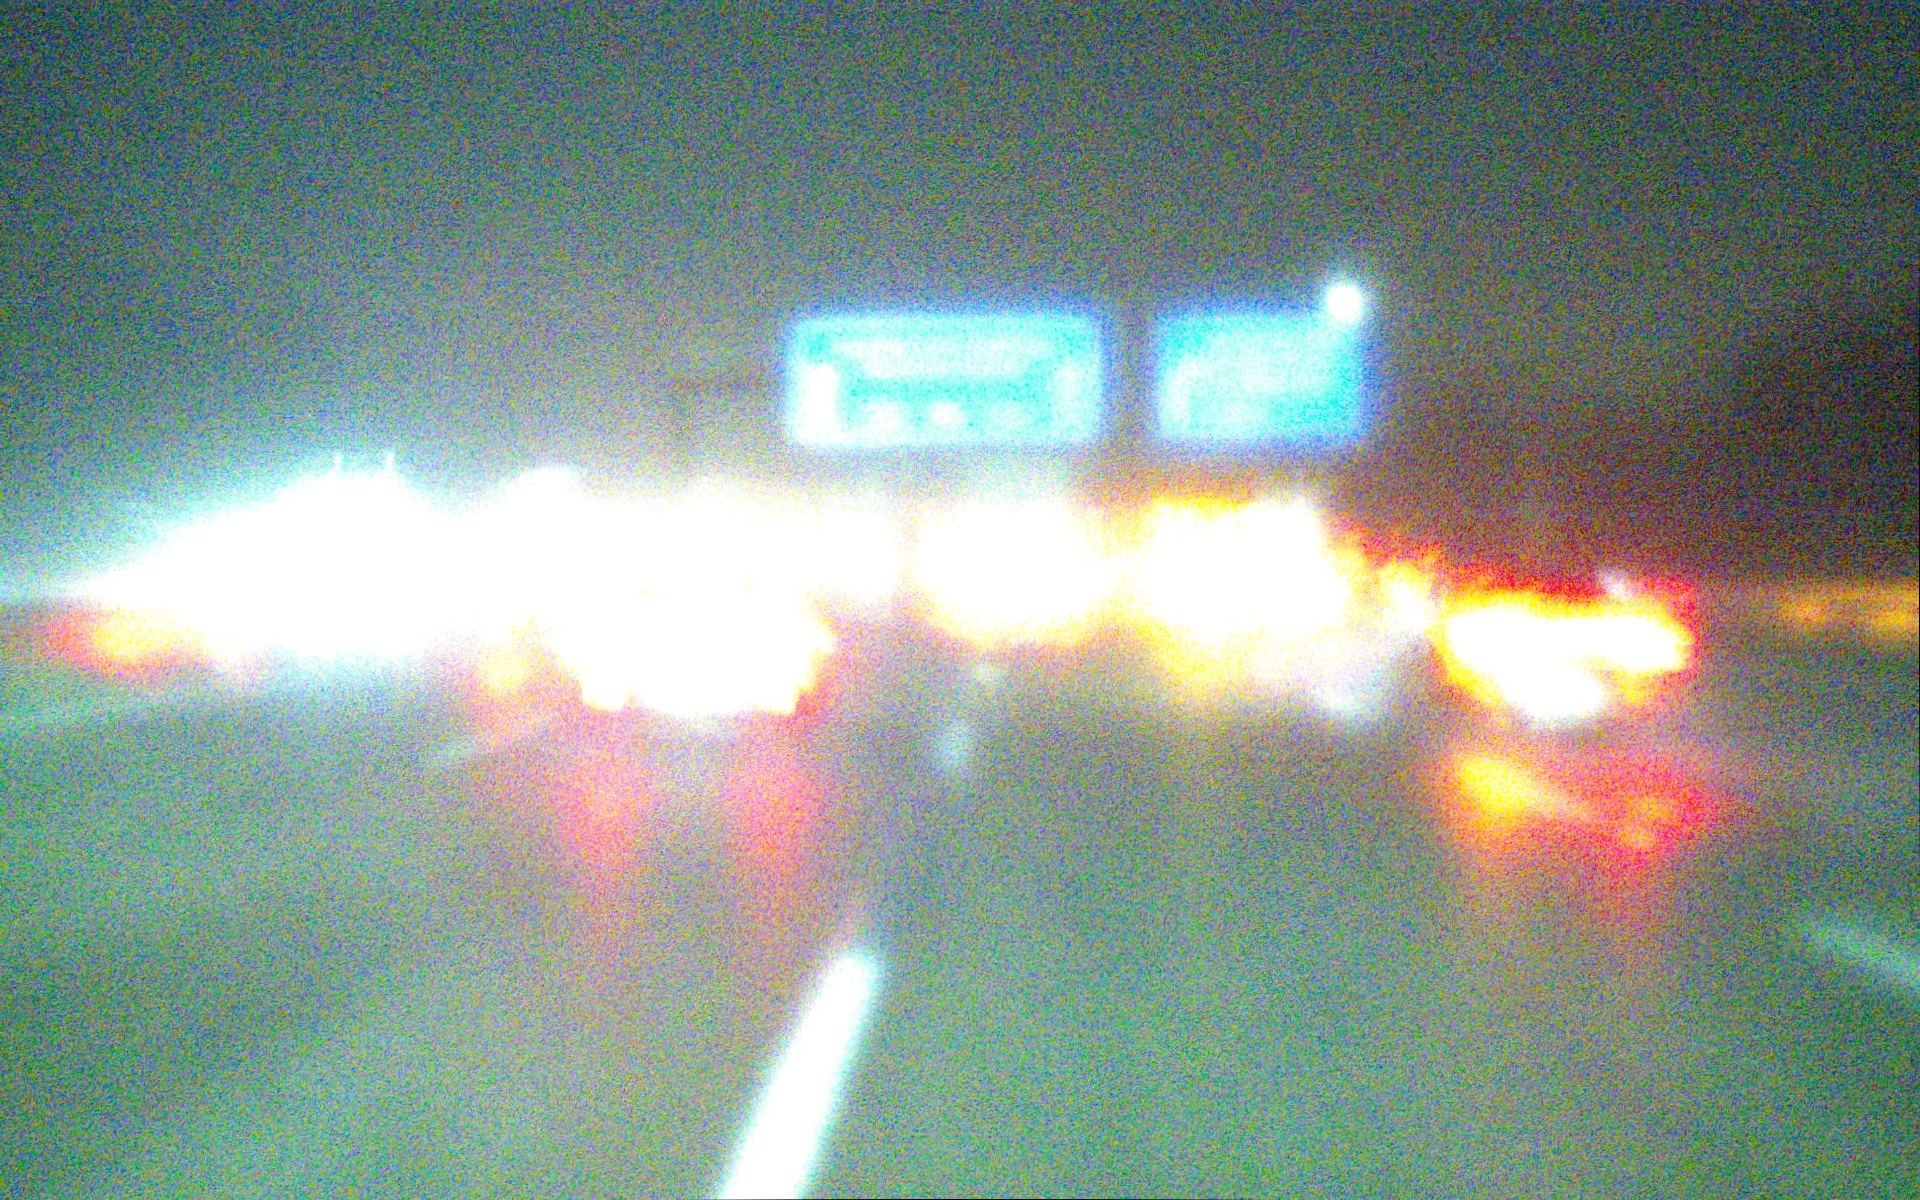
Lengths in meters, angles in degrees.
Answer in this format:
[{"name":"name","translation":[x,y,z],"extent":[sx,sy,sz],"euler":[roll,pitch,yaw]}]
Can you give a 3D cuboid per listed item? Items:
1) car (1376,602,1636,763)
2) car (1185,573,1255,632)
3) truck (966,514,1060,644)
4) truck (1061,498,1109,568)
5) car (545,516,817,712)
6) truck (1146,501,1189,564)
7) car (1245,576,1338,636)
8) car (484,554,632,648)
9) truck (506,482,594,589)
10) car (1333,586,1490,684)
[{"name":"car","translation":[4.576,0.665,29.181],"extent":[1.580,1.242,3.069],"euler":[1,0,-3]},{"name":"car","translation":[7.341,0.047,97.302],"extent":[1.863,1.612,4.000],"euler":[1,0,3]},{"name":"truck","translation":[1.370,-0.510,85.478],"extent":[1.994,3.032,6.464],"euler":[-2,0,3]},{"name":"truck","translation":[5.773,-3.061,158.059],"extent":[1.994,3.032,6.464],"euler":[-2,0,3]},{"name":"car","translation":[-2.207,0.066,28.144],"extent":[1.802,1.482,4.000],"euler":[0,1,1]},{"name":"truck","translation":[10.654,-3.454,176.965],"extent":[1.994,3.032,6.464],"euler":[-2,0,3]},{"name":"car","translation":[7.192,0.122,74.889],"extent":[1.580,1.242,3.069],"euler":[1,0,-3]},{"name":"car","translation":[-5.735,0.016,49.411],"extent":[1.662,1.232,3.761],"euler":[-2,0,0]},{"name":"truck","translation":[-19.520,-3.002,164.042],"extent":[2.923,4.833,7.576],"euler":[-2,0,2]},{"name":"car","translation":[6.081,0.454,46.602],"extent":[1.580,1.242,3.069],"euler":[1,0,-3]}]
